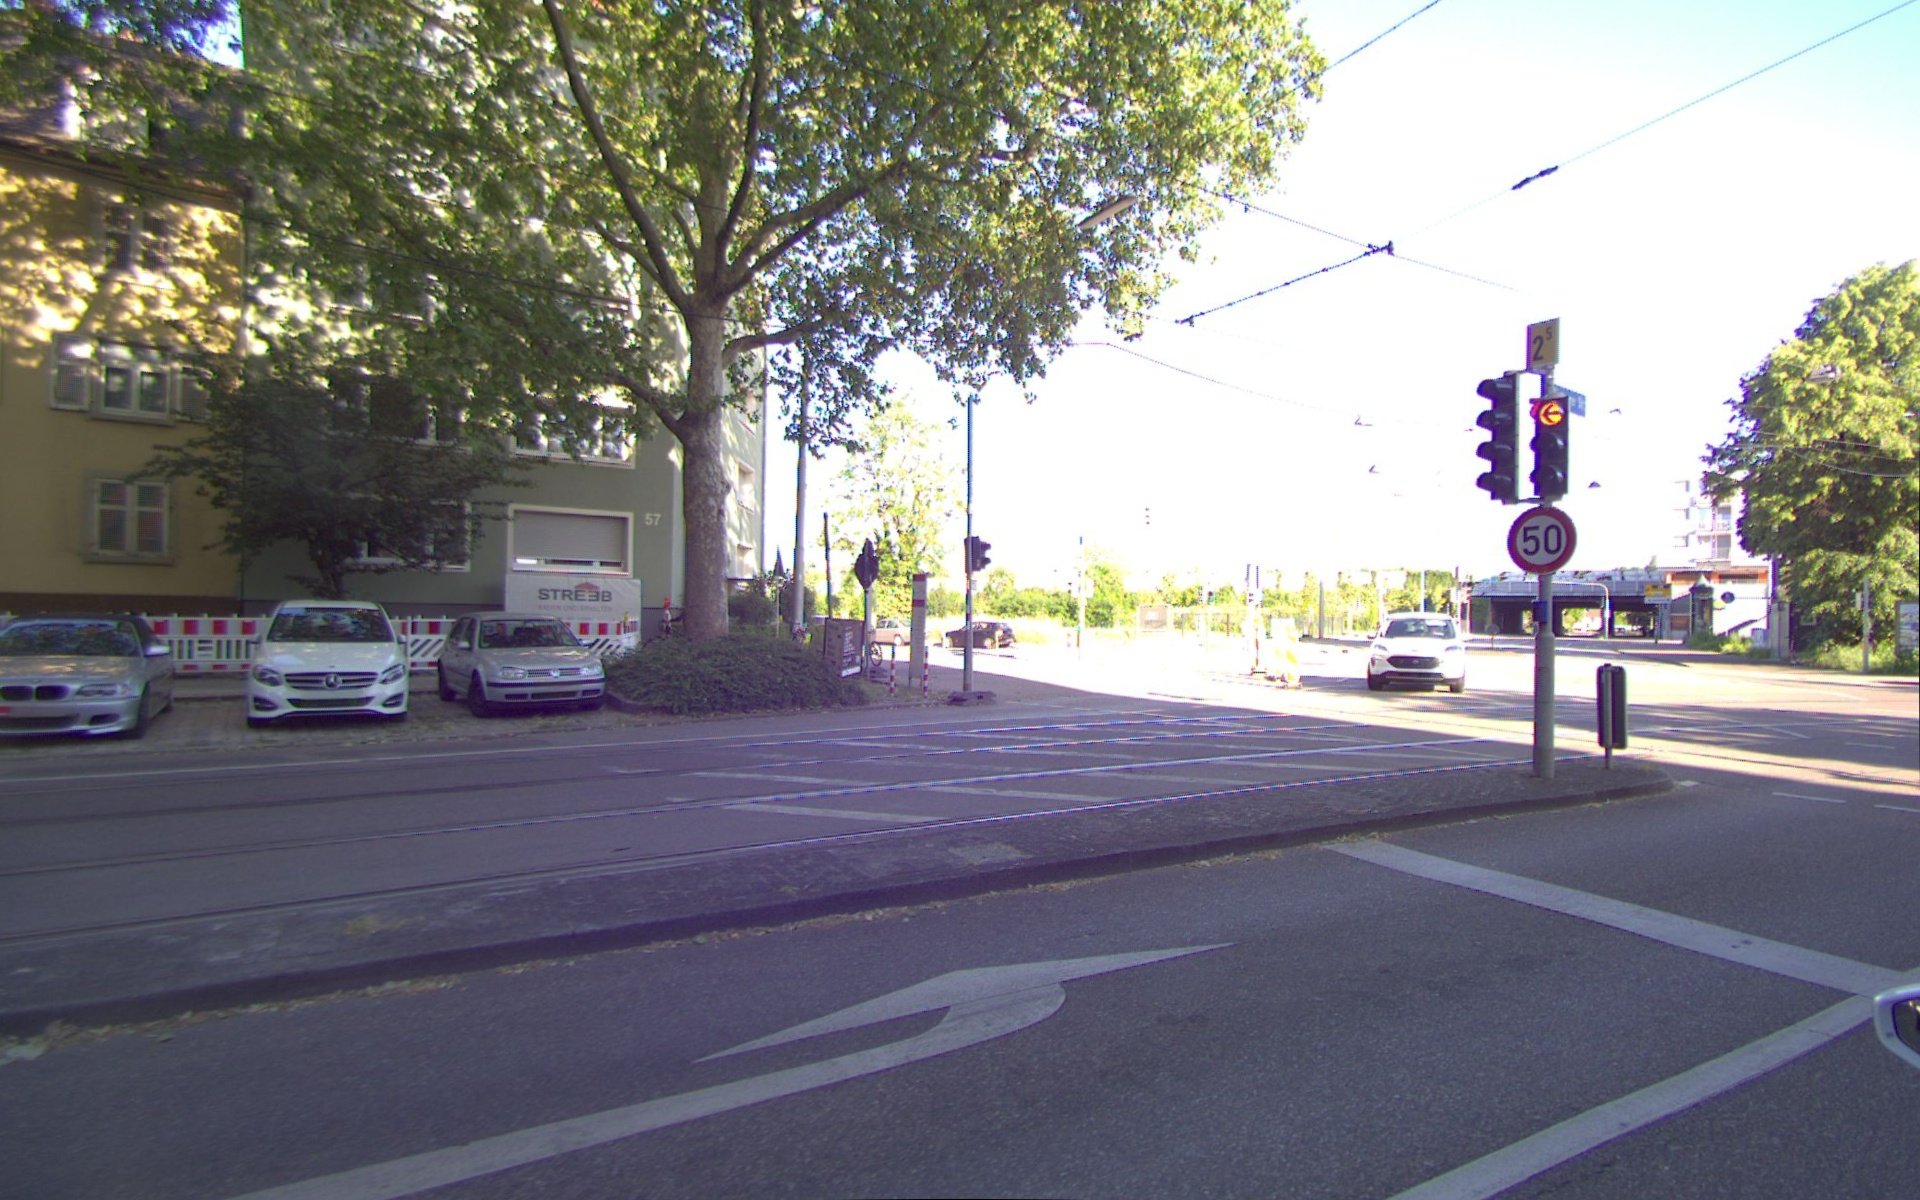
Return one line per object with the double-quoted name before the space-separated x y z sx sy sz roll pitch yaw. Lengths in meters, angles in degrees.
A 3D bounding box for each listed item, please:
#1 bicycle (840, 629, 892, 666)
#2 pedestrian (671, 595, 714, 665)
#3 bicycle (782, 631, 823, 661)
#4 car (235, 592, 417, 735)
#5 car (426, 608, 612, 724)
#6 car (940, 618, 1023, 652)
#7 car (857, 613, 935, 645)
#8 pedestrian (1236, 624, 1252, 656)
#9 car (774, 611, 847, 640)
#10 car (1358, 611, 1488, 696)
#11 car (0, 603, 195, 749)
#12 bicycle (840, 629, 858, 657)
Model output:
"bicycle" -2.466 1.233 26.301 0.356 0.900 1.758 1 -1 -43
"pedestrian" -6.208 0.701 23.324 0.591 1.589 0.741 1 -1 31
"bicycle" -4.259 1.234 27.250 0.351 0.769 1.781 1 -1 16
"car" -8.708 0.760 13.955 1.824 1.633 4.049 2 0 -31
"car" -6.840 0.912 15.353 1.689 1.436 3.957 2 0 -37
"car" 1.113 1.814 52.882 3.931 1.439 1.888 1 5 33
"car" -3.564 1.594 55.968 3.931 1.439 1.888 1 5 33
"pedestrian" 14.627 2.061 51.752 0.591 1.617 0.683 2 0 33
"car" -8.870 1.501 59.563 3.931 1.439 1.888 1 5 33
"car" 10.340 1.097 22.236 1.966 1.653 4.618 0 -1 33
"car" -10.626 0.801 12.045 1.824 1.387 4.049 2 0 -31
"bicycle" -3.245 1.246 29.398 0.351 0.769 1.780 1 -1 -1
